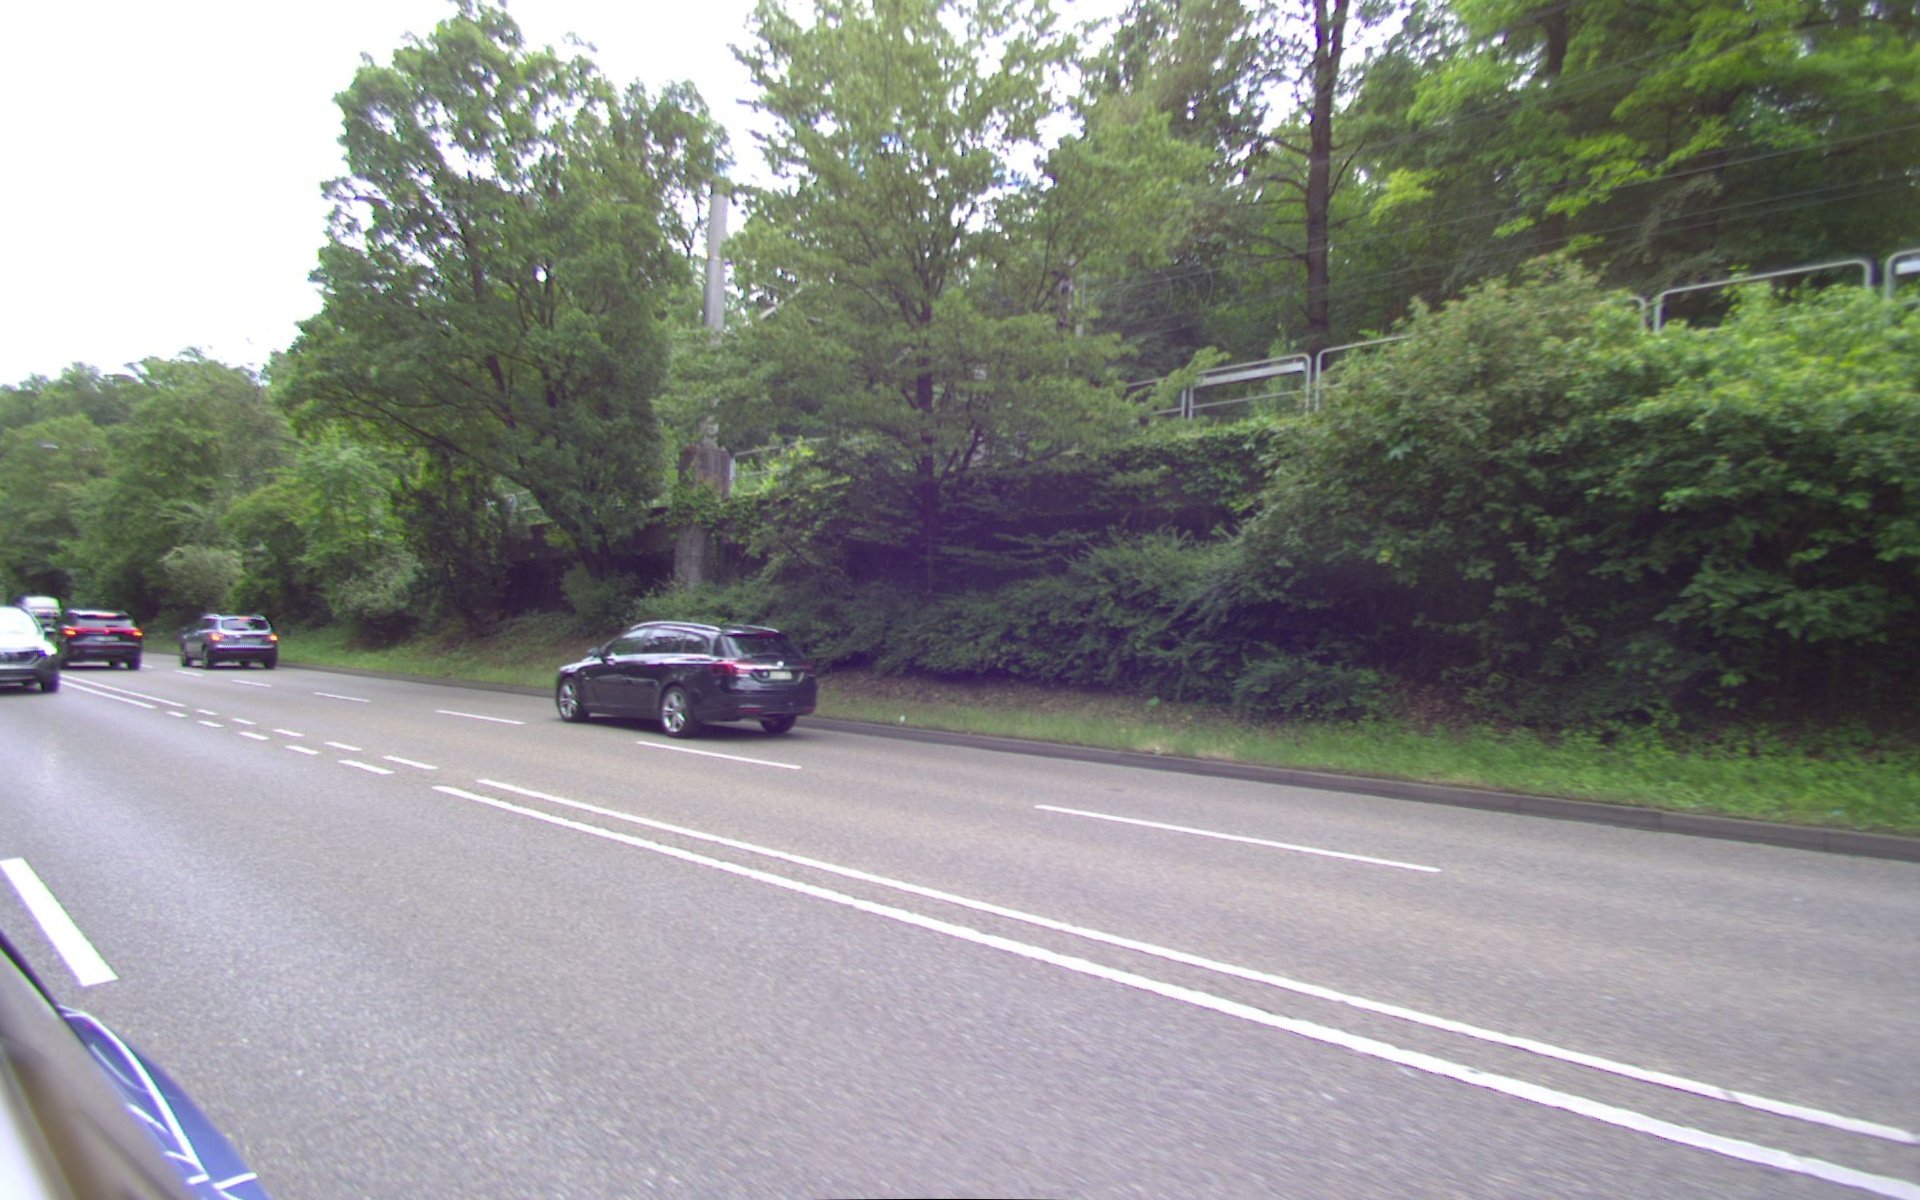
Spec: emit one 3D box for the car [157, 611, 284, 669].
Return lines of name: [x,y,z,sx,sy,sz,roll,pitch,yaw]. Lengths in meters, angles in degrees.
car: [-22.486,1.187,30.736,4.179,1.624,1.776,0,-3,34]

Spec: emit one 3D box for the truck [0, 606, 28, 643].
truck: [-66.571,1.642,70.228,6.465,2.429,2.153,-1,-4,43]

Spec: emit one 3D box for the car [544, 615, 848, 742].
car: [-3.784,0.987,14.066,4.528,1.479,1.893,-1,-3,42]

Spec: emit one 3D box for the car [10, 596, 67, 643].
car: [-54.015,1.154,59.275,4.913,2.575,1.867,-1,-4,42]

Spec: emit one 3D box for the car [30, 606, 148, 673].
car: [-24.772,1.070,28.724,4.827,1.674,1.791,1,-1,41]

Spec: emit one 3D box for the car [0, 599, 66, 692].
car: [-18.895,0.826,19.550,4.190,1.675,1.847,-1,-3,41]
